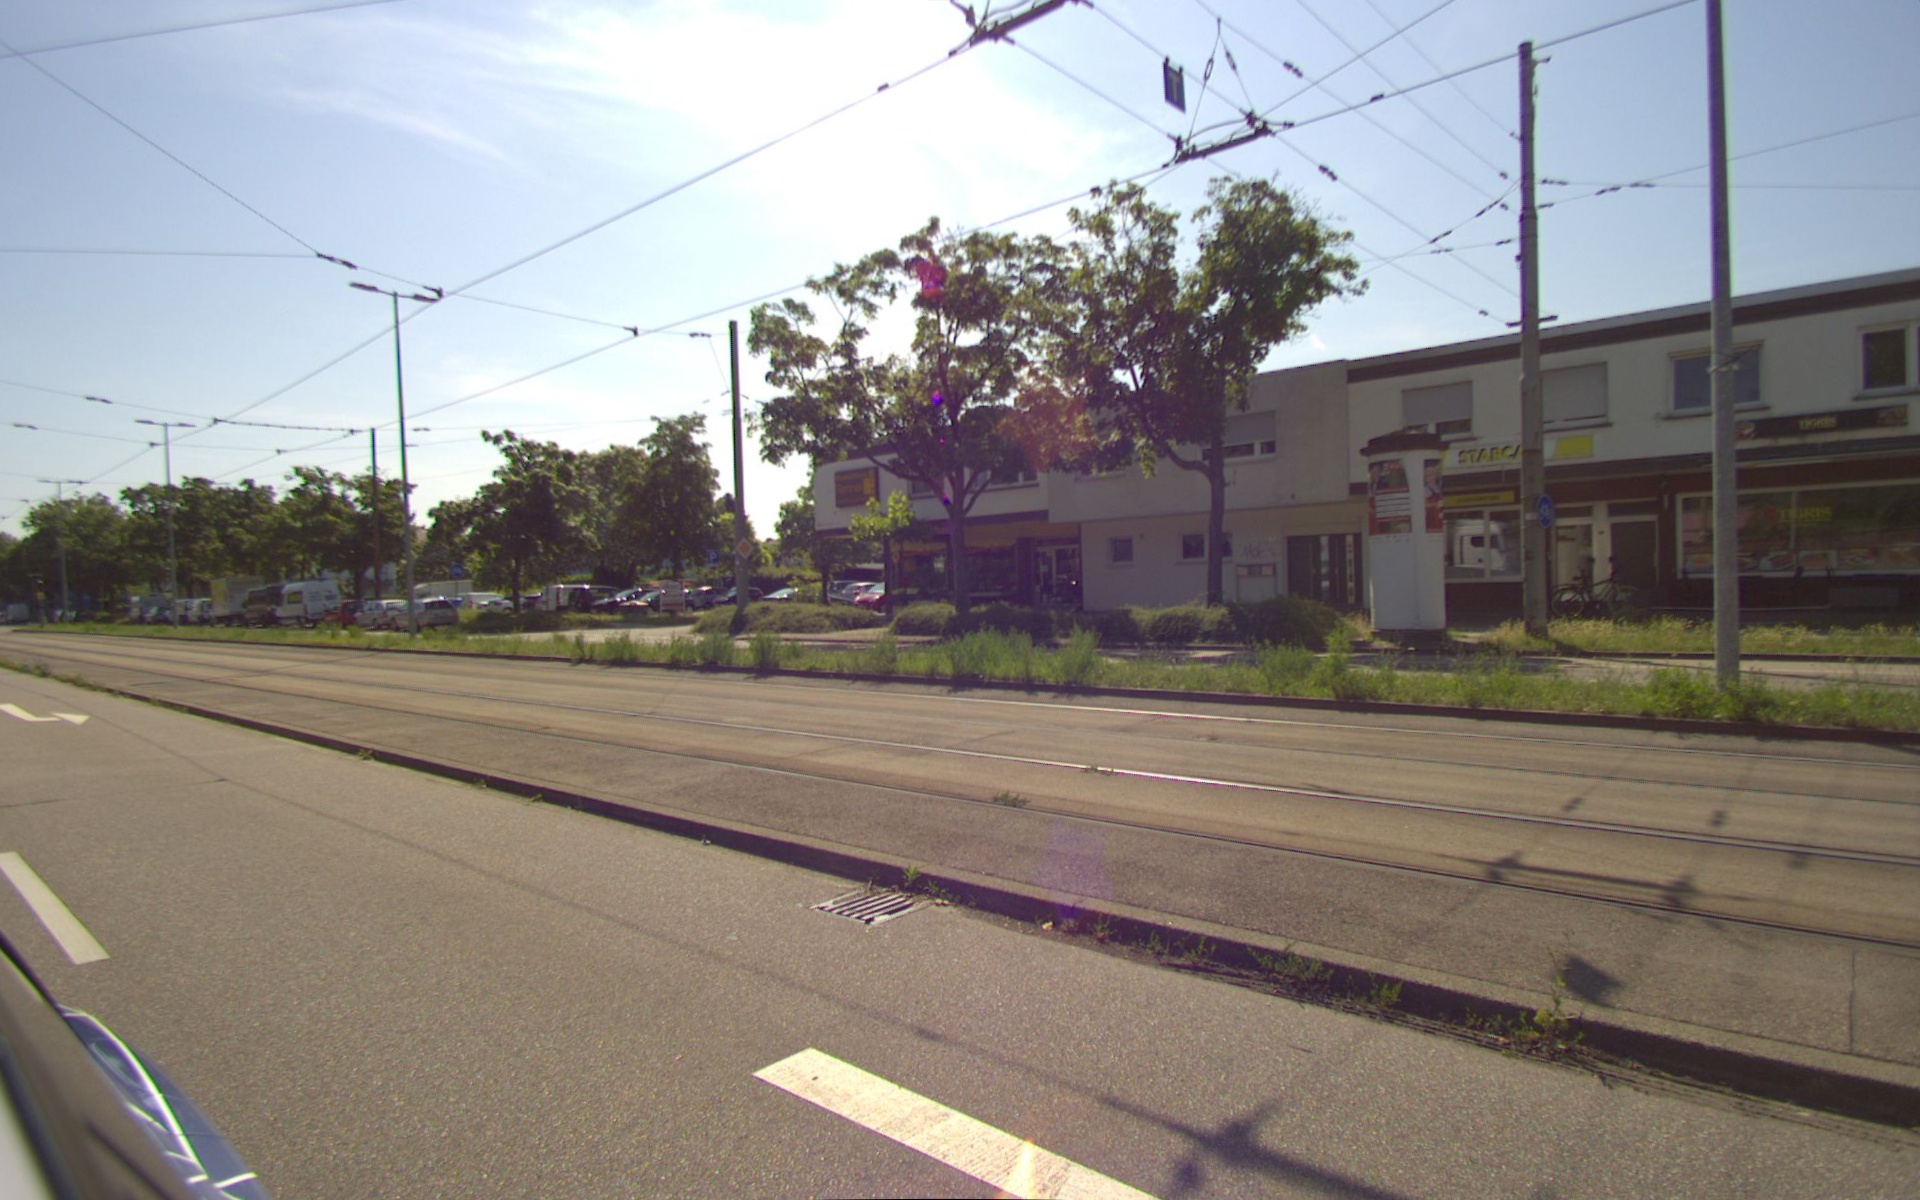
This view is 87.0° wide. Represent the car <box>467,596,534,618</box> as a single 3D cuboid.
[{"bbox_3d":[-29.891,0.438,65.901,1.710,1.291,3.580,-1,1,39],"label":"car"}]

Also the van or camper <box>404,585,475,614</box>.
[{"bbox_3d":[-53.075,-0.093,103.259,2.299,2.751,6.002,-1,1,43],"label":"van or camper"}]

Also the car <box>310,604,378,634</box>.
[{"bbox_3d":[-33.209,1.011,54.493,4.229,1.506,1.869,-1,1,41],"label":"car"}]

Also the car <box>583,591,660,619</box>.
[{"bbox_3d":[-18.229,0.250,54.634,1.710,1.372,3.580,-1,1,39],"label":"car"}]

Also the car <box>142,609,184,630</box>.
[{"bbox_3d":[-64.388,1.544,81.728,4.229,1.572,1.869,-1,1,41],"label":"car"}]

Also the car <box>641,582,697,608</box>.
[{"bbox_3d":[-21.363,-0.368,74.417,1.710,1.791,3.580,-1,1,39],"label":"car"}]

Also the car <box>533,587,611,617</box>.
[{"bbox_3d":[-22.211,0.119,57.996,1.949,1.581,3.703,-1,1,39],"label":"car"}]

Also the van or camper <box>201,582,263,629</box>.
[{"bbox_3d":[-48.436,0.393,67.273,5.278,3.007,2.101,-1,1,41],"label":"van or camper"}]

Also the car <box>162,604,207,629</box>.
[{"bbox_3d":[-59.745,1.273,77.936,4.229,1.781,1.869,-1,1,41],"label":"car"}]

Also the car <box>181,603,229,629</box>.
[{"bbox_3d":[-54.657,1.179,73.216,4.229,1.747,1.869,-1,1,41],"label":"car"}]

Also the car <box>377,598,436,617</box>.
[{"bbox_3d":[-42.197,0.595,77.157,1.710,1.291,3.580,-1,1,39],"label":"car"}]

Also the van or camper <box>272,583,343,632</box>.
[{"bbox_3d":[-37.110,0.425,57.522,4.836,2.652,2.014,-1,1,41],"label":"van or camper"}]

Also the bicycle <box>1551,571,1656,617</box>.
[{"bbox_3d":[14.642,-0.132,23.048,1.910,0.990,0.750,-1,1,41],"label":"bicycle"}]

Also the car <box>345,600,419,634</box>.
[{"bbox_3d":[-29.171,0.858,51.034,4.282,1.572,1.869,-1,1,41],"label":"car"}]

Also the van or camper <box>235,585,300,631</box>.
[{"bbox_3d":[-42.496,0.494,62.074,4.836,2.652,2.014,-1,1,41],"label":"van or camper"}]

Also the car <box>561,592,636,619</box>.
[{"bbox_3d":[-20.180,0.275,56.573,1.710,1.372,3.580,-1,1,39],"label":"car"}]

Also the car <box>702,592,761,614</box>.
[{"bbox_3d":[-15.640,0.165,69.387,1.710,1.372,3.580,-1,1,39],"label":"car"}]

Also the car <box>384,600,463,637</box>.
[{"bbox_3d":[-25.133,0.839,47.380,4.285,1.506,1.868,-1,4,43],"label":"car"}]

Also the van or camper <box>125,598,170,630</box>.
[{"bbox_3d":[-69.466,1.162,86.446,5.450,2.639,2.087,-1,0,41],"label":"van or camper"}]

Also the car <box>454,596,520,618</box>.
[{"bbox_3d":[-31.558,0.459,67.622,1.710,1.291,3.580,-1,1,39],"label":"car"}]

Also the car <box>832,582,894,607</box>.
[{"bbox_3d":[-5.876,-0.359,61.356,1.710,1.372,3.580,-1,1,39],"label":"car"}]

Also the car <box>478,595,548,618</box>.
[{"bbox_3d":[-28.092,0.416,63.707,1.811,1.291,3.580,-1,1,39],"label":"car"}]

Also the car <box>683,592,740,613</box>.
[{"bbox_3d":[-17.479,0.164,71.225,1.710,1.372,3.580,-1,1,39],"label":"car"}]

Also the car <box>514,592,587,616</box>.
[{"bbox_3d":[-24.022,0.228,59.451,1.710,1.294,3.580,-1,1,39],"label":"car"}]
